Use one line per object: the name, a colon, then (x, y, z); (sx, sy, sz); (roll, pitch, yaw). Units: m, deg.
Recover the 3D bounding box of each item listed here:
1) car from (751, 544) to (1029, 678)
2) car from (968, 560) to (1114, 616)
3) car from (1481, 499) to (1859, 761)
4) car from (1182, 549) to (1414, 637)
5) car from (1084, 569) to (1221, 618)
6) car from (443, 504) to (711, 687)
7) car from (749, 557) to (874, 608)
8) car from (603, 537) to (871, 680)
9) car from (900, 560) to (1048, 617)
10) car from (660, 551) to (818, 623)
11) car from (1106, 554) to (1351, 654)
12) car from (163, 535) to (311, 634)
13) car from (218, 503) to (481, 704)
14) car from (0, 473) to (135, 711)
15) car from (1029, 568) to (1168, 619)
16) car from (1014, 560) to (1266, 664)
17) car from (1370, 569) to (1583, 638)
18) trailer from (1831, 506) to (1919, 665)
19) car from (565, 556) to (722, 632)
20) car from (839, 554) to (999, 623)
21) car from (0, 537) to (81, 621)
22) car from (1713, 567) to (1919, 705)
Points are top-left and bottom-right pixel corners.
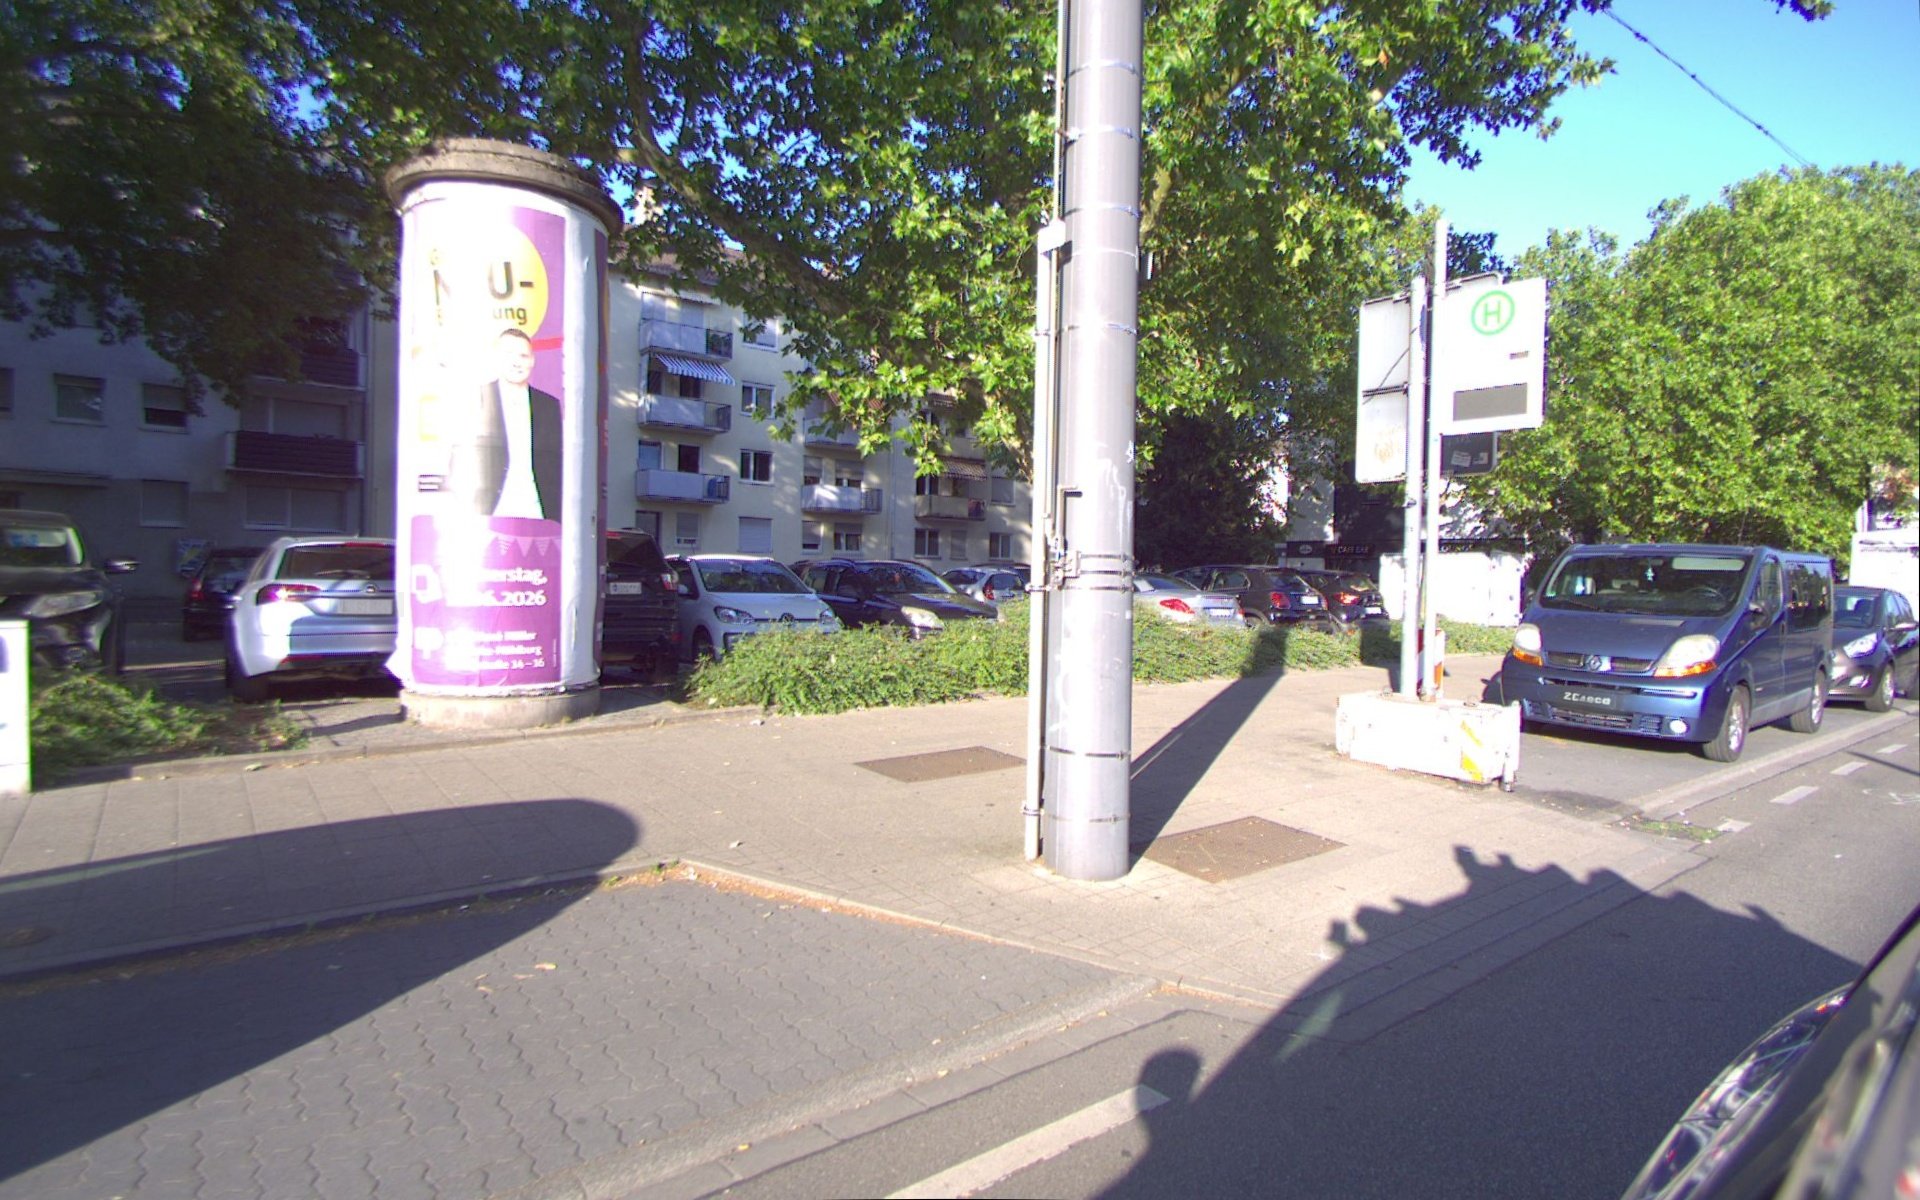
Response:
car: (-1.098, 0.043, 13.569); (1.769, 1.513, 4.125); (0, 2, -36)
car: (2.406, -0.402, 31.010); (1.965, 1.553, 4.289); (0, 2, -41)
car: (7.315, 0.205, 10.262); (4.479, 2.104, 1.890); (0, 2, -38)
car: (6.591, -0.115, 20.112); (1.769, 1.570, 4.123); (0, 0, -36)
car: (6.500, -0.264, 34.565); (1.965, 1.514, 4.289); (0, 2, -41)
car: (-4.385, -0.044, 11.241); (1.822, 1.652, 3.851); (0, 0, -36)
car: (-4.807, -0.586, 32.410); (1.948, 1.514, 4.289); (0, 2, -41)
car: (-2.853, 0.105, 12.359); (1.769, 1.455, 3.851); (2, -1, -36)
car: (0.333, -0.381, 29.587); (1.965, 1.514, 4.289); (0, 2, -41)
car: (-5.363, -0.359, 24.176); (1.964, 1.553, 4.291); (0, 2, -40)
car: (4.796, -0.007, 18.600); (1.769, 1.618, 4.125); (0, 2, -36)
car: (-12.978, -0.312, 18.139); (1.963, 1.553, 4.061); (0, 2, -37)
car: (-5.990, 0.056, 9.720); (1.822, 1.514, 3.850); (0, -1, -36)
car: (-7.970, -0.023, 8.286); (1.823, 1.621, 4.030); (0, -1, -39)
car: (4.451, -0.250, 33.011); (1.965, 1.514, 4.289); (0, 2, -41)
car: (2.917, 0.109, 17.217); (1.769, 1.513, 4.125); (0, 2, -36)
car: (12.765, 0.022, 25.218); (1.965, 1.514, 4.291); (0, 2, -40)
trailer: (17.567, -0.252, 18.274); (4.566, 2.620, 1.890); (0, 2, -38)
car: (-7.260, -0.191, 22.948); (1.964, 1.553, 4.291); (0, 2, -39)
car: (-1.185, -0.367, 27.298); (1.965, 1.712, 4.450); (0, 2, -41)
car: (-19.088, -0.464, 20.264); (1.963, 1.553, 4.061); (0, 2, -37)
car: (12.266, 0.407, 14.145); (3.927, 1.650, 1.800); (0, 2, -38)
